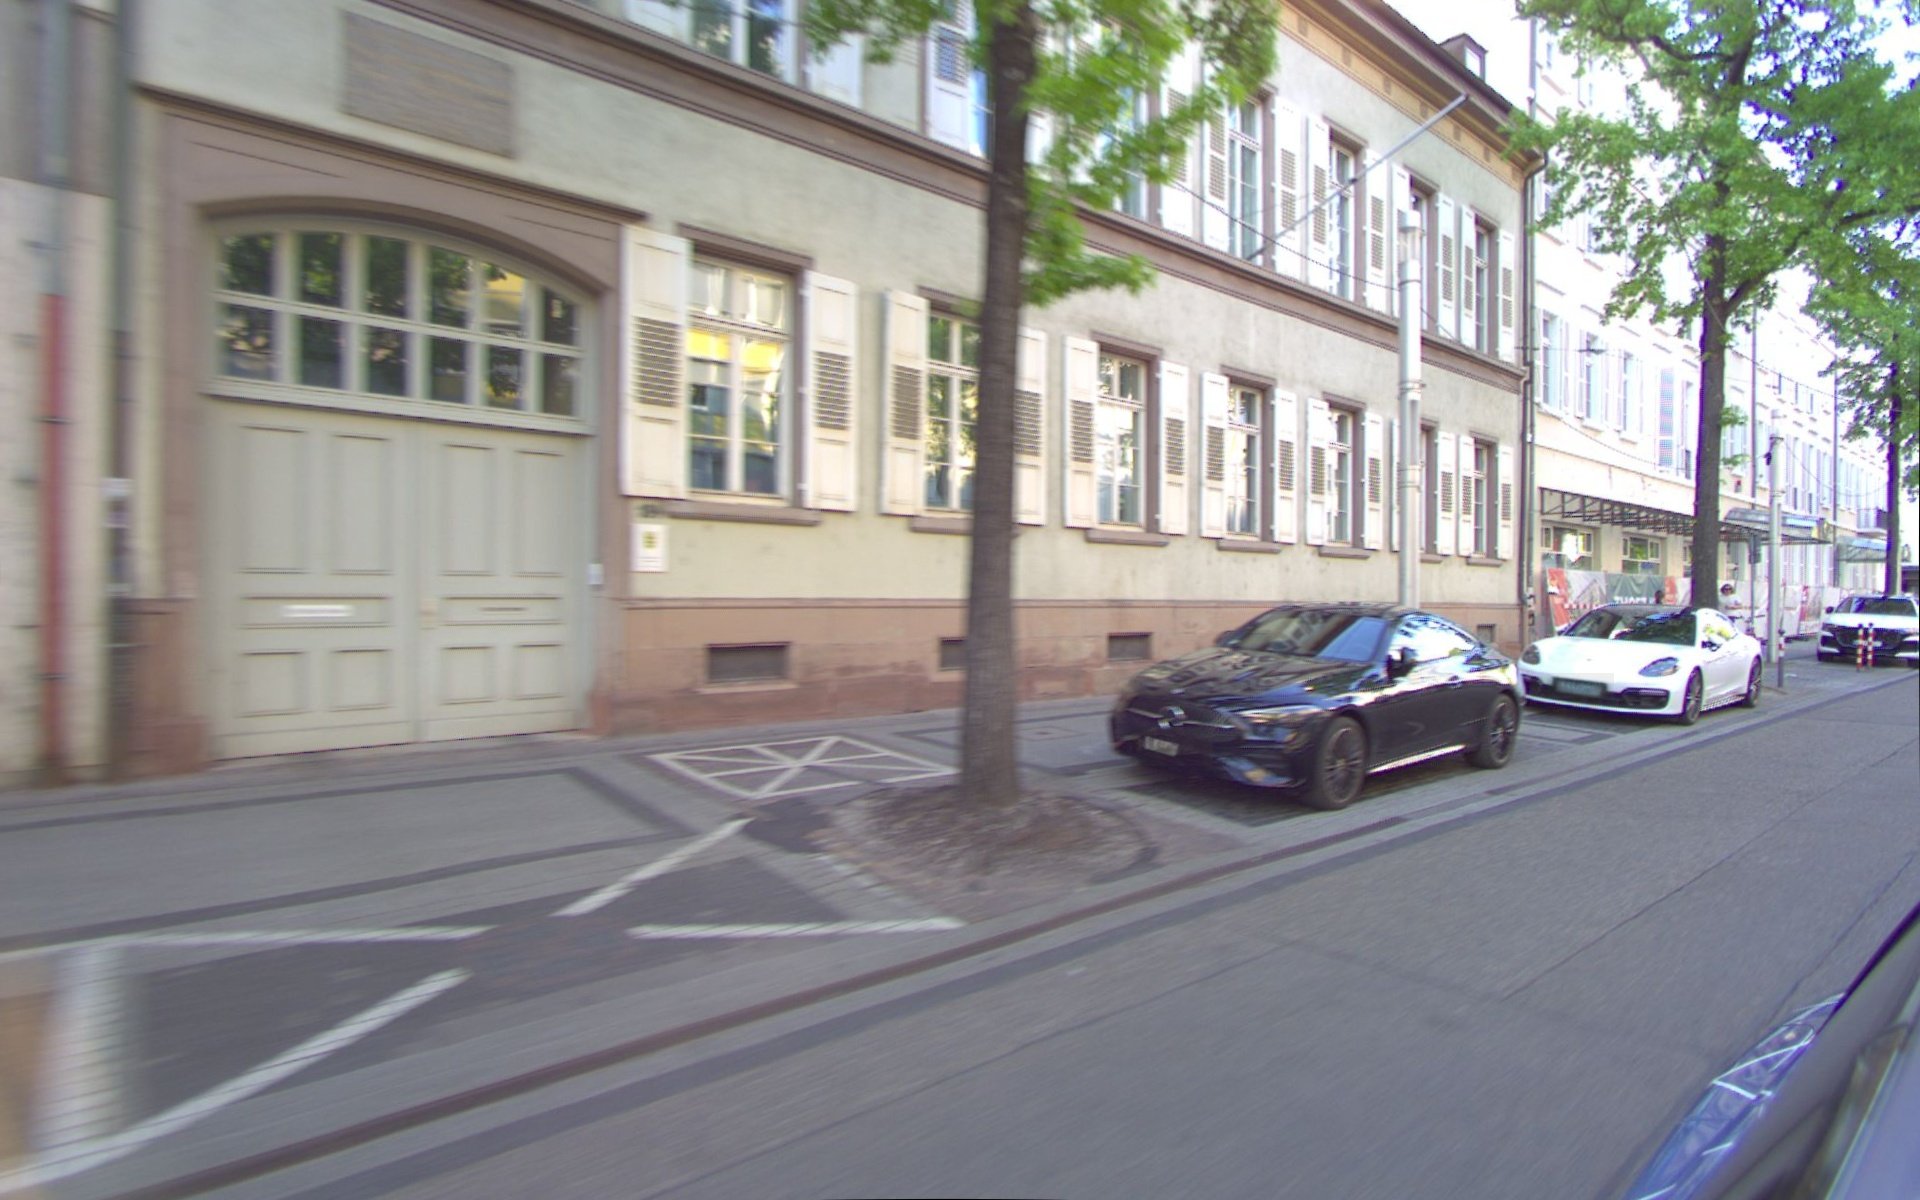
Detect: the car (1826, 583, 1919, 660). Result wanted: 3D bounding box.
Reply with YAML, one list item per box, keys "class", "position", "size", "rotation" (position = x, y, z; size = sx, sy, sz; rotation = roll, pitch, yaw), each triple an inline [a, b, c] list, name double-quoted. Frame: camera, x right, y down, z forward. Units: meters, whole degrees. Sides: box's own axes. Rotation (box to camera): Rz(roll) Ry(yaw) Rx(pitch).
- class: "car"
  position: [23.384, 0.467, 25.342]
  size: [4.884, 1.708, 2.000]
  rotation: [-1, 3, -43]

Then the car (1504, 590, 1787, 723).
- class: "car"
  position: [9.524, 0.647, 13.906]
  size: [4.800, 1.438, 1.917]
  rotation: [0, 3, -40]

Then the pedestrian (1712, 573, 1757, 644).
- class: "pedestrian"
  position: [21.309, 0.228, 27.837]
  size: [1.034, 1.910, 0.714]
  rotation: [0, 1, -40]

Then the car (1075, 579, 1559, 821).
- class: "car"
  position: [3.280, 0.623, 8.745]
  size: [4.678, 1.496, 1.837]
  rotation: [0, 3, -41]

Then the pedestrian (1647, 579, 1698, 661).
- class: "pedestrian"
  position: [14.173, 0.389, 20.130]
  size: [0.784, 1.593, 0.650]
  rotation: [0, 0, -40]

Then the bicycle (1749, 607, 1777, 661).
- class: "bicycle"
  position: [17.985, 0.735, 22.655]
  size: [0.417, 1.114, 1.959]
  rotation: [2, 2, 40]
